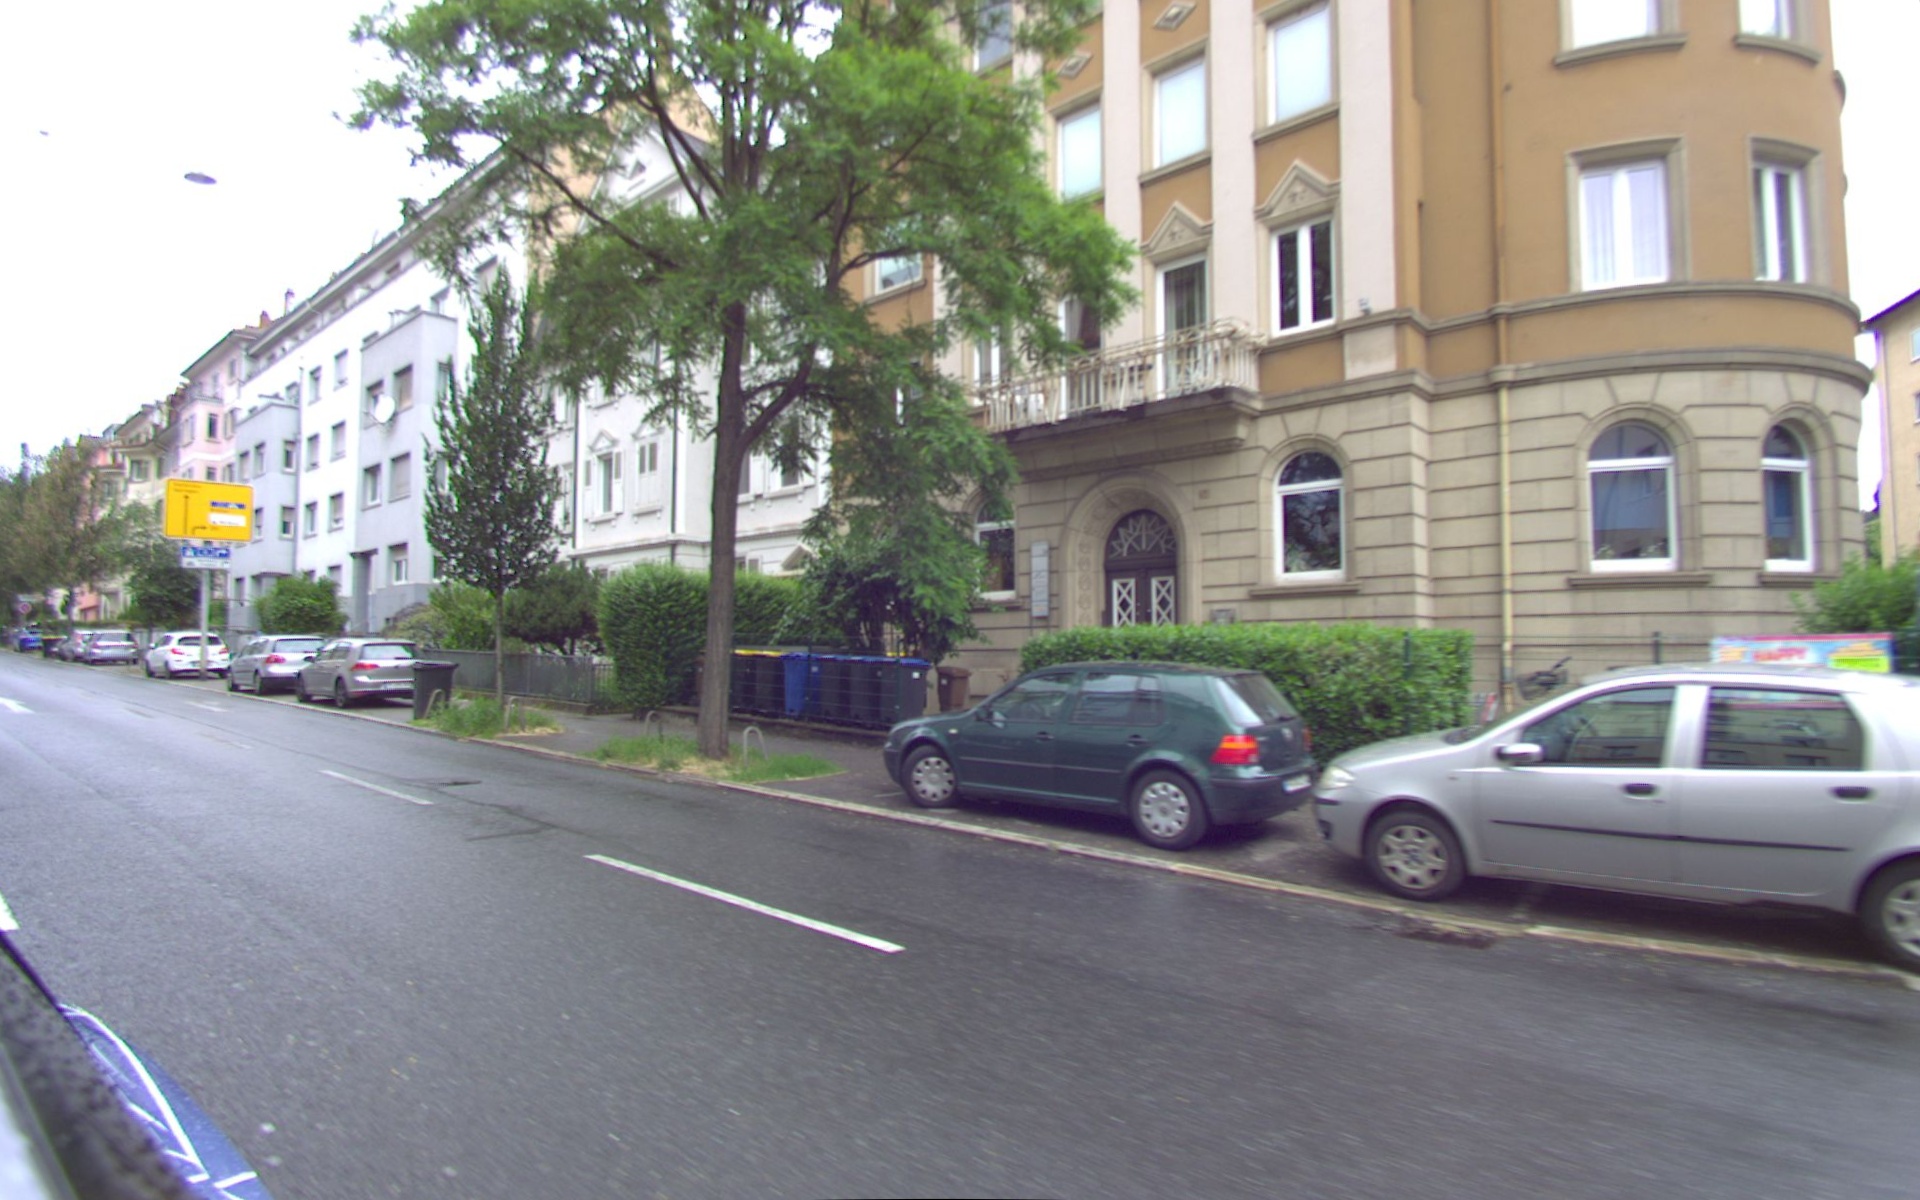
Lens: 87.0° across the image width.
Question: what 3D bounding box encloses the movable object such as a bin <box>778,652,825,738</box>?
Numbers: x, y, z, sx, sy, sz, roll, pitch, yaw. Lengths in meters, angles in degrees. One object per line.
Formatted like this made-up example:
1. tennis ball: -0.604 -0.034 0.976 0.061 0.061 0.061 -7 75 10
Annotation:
1. movable object such as a bin: -2.516 1.495 16.043 0.609 1.319 0.435 -2 -4 41

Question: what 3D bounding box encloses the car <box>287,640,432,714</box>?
1. car: -13.179 1.612 22.128 3.935 1.401 1.664 -1 -2 43

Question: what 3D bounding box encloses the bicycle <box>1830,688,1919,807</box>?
1. bicycle: 8.853 1.321 9.032 0.797 1.019 1.700 0 -3 7

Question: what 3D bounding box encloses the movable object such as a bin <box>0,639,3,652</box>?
1. movable object such as a bin: -65.790 3.121 69.237 0.572 0.896 0.360 -1 -1 41

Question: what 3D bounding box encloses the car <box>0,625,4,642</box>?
1. car: -112.234 3.876 115.802 1.866 1.861 3.880 0 0 39

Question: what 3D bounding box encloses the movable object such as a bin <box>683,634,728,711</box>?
1. movable object such as a bin: -4.447 1.258 17.685 0.649 1.309 0.435 -2 -4 41

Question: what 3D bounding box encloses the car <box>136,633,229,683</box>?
1. car: -25.304 1.838 32.911 3.794 1.519 1.629 -1 -3 41

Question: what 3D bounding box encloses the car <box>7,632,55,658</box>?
1. car: -56.029 2.715 61.034 4.602 1.396 1.661 0 -3 42

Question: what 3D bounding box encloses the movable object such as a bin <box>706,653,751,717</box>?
1. movable object such as a bin: -3.924 1.434 17.161 0.649 1.047 0.435 -2 -4 41

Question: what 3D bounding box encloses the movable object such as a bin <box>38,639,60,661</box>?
1. movable object such as a bin: -46.474 2.559 51.637 0.483 1.066 0.816 0 0 43

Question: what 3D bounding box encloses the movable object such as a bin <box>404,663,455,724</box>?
1. movable object such as a bin: -9.724 1.695 18.553 0.600 1.066 0.623 0 -3 42

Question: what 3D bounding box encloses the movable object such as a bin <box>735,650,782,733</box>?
1. movable object such as a bin: -3.316 1.494 16.636 0.649 1.319 0.435 -2 -4 41

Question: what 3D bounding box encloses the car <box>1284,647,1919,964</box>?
1. car: 4.163 1.049 6.206 3.834 1.465 1.616 -1 -3 38

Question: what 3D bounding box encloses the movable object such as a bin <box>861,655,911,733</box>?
1. movable object such as a bin: -1.074 1.355 14.698 0.589 1.089 0.435 -2 -4 41

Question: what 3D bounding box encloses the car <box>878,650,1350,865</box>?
1. car: 1.236 1.211 9.101 3.939 1.465 1.637 -1 -3 40

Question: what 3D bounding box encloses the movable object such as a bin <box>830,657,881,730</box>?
1. movable object such as a bin: -1.562 1.383 15.111 0.650 1.049 0.421 -2 -4 41

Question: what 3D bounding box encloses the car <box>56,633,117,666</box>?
1. car: -40.435 2.267 46.829 3.886 1.407 1.584 0 -2 41

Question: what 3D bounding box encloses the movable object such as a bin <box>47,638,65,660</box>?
1. movable object such as a bin: -45.443 2.468 50.867 0.480 1.066 0.522 0 0 20

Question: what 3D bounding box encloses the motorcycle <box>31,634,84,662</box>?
1. motorcycle: -44.387 2.345 49.797 1.783 1.325 0.743 1 -3 -7

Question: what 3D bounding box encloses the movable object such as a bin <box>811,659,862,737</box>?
1. movable object such as a bin: -1.888 1.480 15.439 0.657 1.139 0.435 -2 -4 41

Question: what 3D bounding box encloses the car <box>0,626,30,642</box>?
1. car: -106.931 3.800 113.306 1.592 1.634 3.876 -1 -3 42

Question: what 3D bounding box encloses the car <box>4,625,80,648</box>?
1. car: -79.182 3.109 87.342 1.917 1.919 4.671 0 -1 40

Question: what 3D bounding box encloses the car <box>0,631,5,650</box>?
1. car: -77.145 3.181 80.303 4.137 1.428 1.663 -1 -4 42

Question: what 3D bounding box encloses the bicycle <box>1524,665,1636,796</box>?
1. bicycle: 5.939 1.170 9.679 0.804 1.054 2.323 -1 -3 33

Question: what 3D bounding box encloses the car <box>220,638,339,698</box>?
1. car: -17.503 1.692 25.978 3.909 1.401 1.664 -2 -2 43

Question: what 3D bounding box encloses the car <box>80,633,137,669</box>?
1. car: -36.836 2.173 43.743 1.582 1.462 3.890 1 -2 -44

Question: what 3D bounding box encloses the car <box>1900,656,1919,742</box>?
1. car: 16.692 1.647 15.572 1.696 1.451 3.816 0 -2 17
